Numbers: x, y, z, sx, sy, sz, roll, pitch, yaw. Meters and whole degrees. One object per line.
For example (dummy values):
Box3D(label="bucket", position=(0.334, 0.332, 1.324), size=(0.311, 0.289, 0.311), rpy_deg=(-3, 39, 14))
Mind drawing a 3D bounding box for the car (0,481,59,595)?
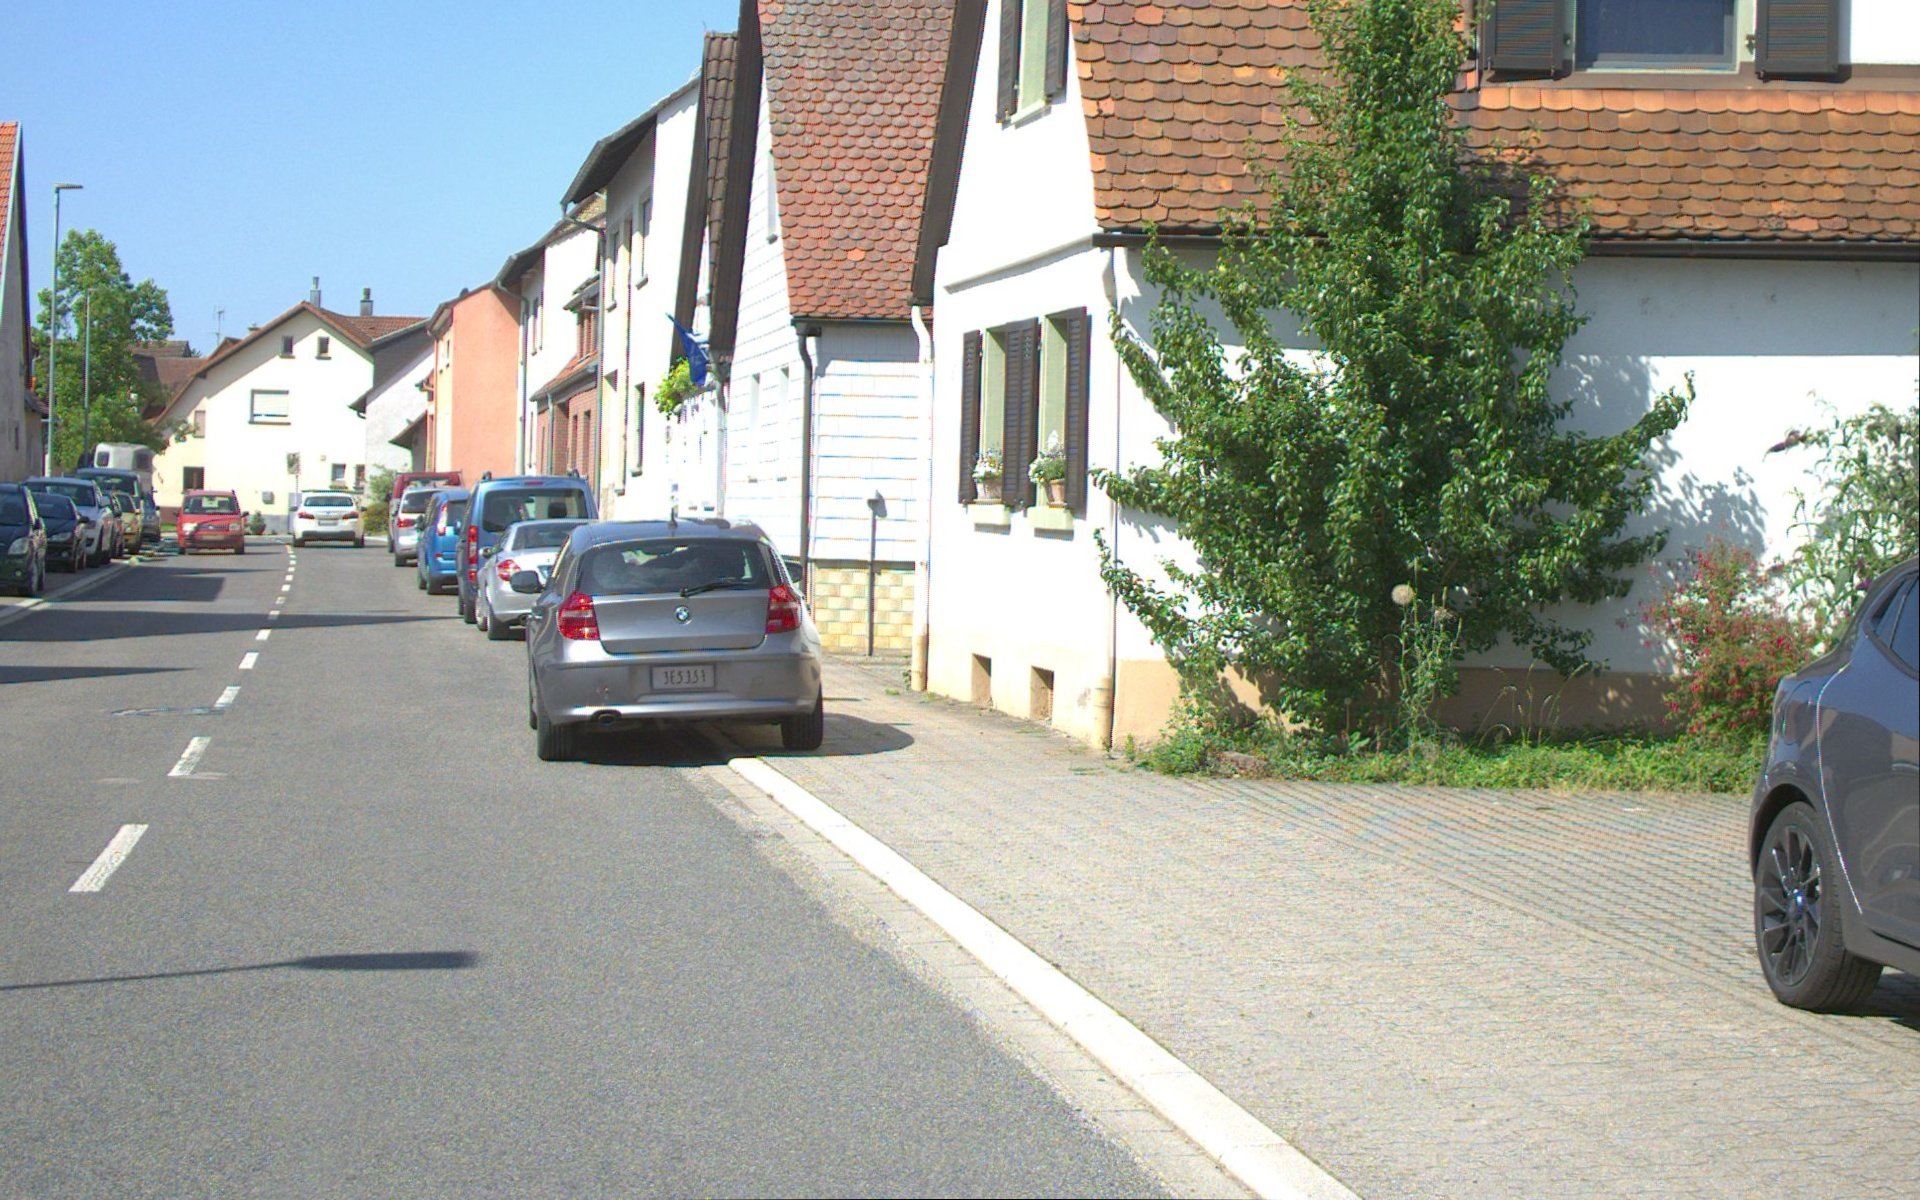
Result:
Box3D(label="car", position=(-14.105, -0.942, 50.023), size=(1.618, 1.572, 3.963), rpy_deg=(2, 1, -11))

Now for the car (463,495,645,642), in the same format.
Box3D(label="car", position=(-4.548, -0.373, 38.157), size=(1.704, 1.491, 3.453), rpy_deg=(2, 1, -11))

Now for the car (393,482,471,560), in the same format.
Box3D(label="car", position=(-10.942, -1.635, 71.188), size=(1.420, 1.510, 3.305), rpy_deg=(2, 1, -11))

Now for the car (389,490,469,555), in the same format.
Box3D(label="car", position=(-12.246, -1.784, 79.134), size=(1.766, 1.428, 3.451), rpy_deg=(1, 1, -9))

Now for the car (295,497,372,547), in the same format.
Box3D(label="car", position=(-16.861, -2.088, 92.537), size=(1.993, 1.284, 4.001), rpy_deg=(1, 1, -10))

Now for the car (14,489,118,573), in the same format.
Box3D(label="car", position=(-16.120, -1.244, 62.103), size=(1.504, 1.448, 3.510), rpy_deg=(1, 1, -10))

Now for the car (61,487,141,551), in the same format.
Box3D(label="car", position=(-19.616, -1.856, 78.604), size=(1.527, 1.351, 3.627), rpy_deg=(2, 1, -11))

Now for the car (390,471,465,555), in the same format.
Box3D(label="car", position=(-13.068, -2.127, 84.257), size=(1.766, 1.997, 3.451), rpy_deg=(1, 1, -9))

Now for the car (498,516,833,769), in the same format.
Box3D(label="car", position=(-1.939, 0.193, 21.661), size=(1.704, 1.428, 3.891), rpy_deg=(0, 2, -11))

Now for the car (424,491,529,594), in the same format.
Box3D(label="car", position=(-7.606, -0.915, 53.942), size=(1.420, 1.510, 3.305), rpy_deg=(2, 1, -11))

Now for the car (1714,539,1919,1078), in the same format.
Box3D(label="car", position=(3.435, 0.584, 8.705), size=(1.689, 1.415, 4.146), rpy_deg=(2, 1, -6))

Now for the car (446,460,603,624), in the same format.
Box3D(label="car", position=(-5.487, -0.741, 43.021), size=(1.649, 1.903, 3.627), rpy_deg=(2, 1, -11))

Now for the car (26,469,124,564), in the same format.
Box3D(label="car", position=(-16.977, -1.606, 66.053), size=(1.527, 1.707, 3.627), rpy_deg=(2, 1, -11))

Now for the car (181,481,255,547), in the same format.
Box3D(label="car", position=(-17.831, -2.065, 82.692), size=(1.600, 1.484, 3.627), rpy_deg=(2, 1, -11))
